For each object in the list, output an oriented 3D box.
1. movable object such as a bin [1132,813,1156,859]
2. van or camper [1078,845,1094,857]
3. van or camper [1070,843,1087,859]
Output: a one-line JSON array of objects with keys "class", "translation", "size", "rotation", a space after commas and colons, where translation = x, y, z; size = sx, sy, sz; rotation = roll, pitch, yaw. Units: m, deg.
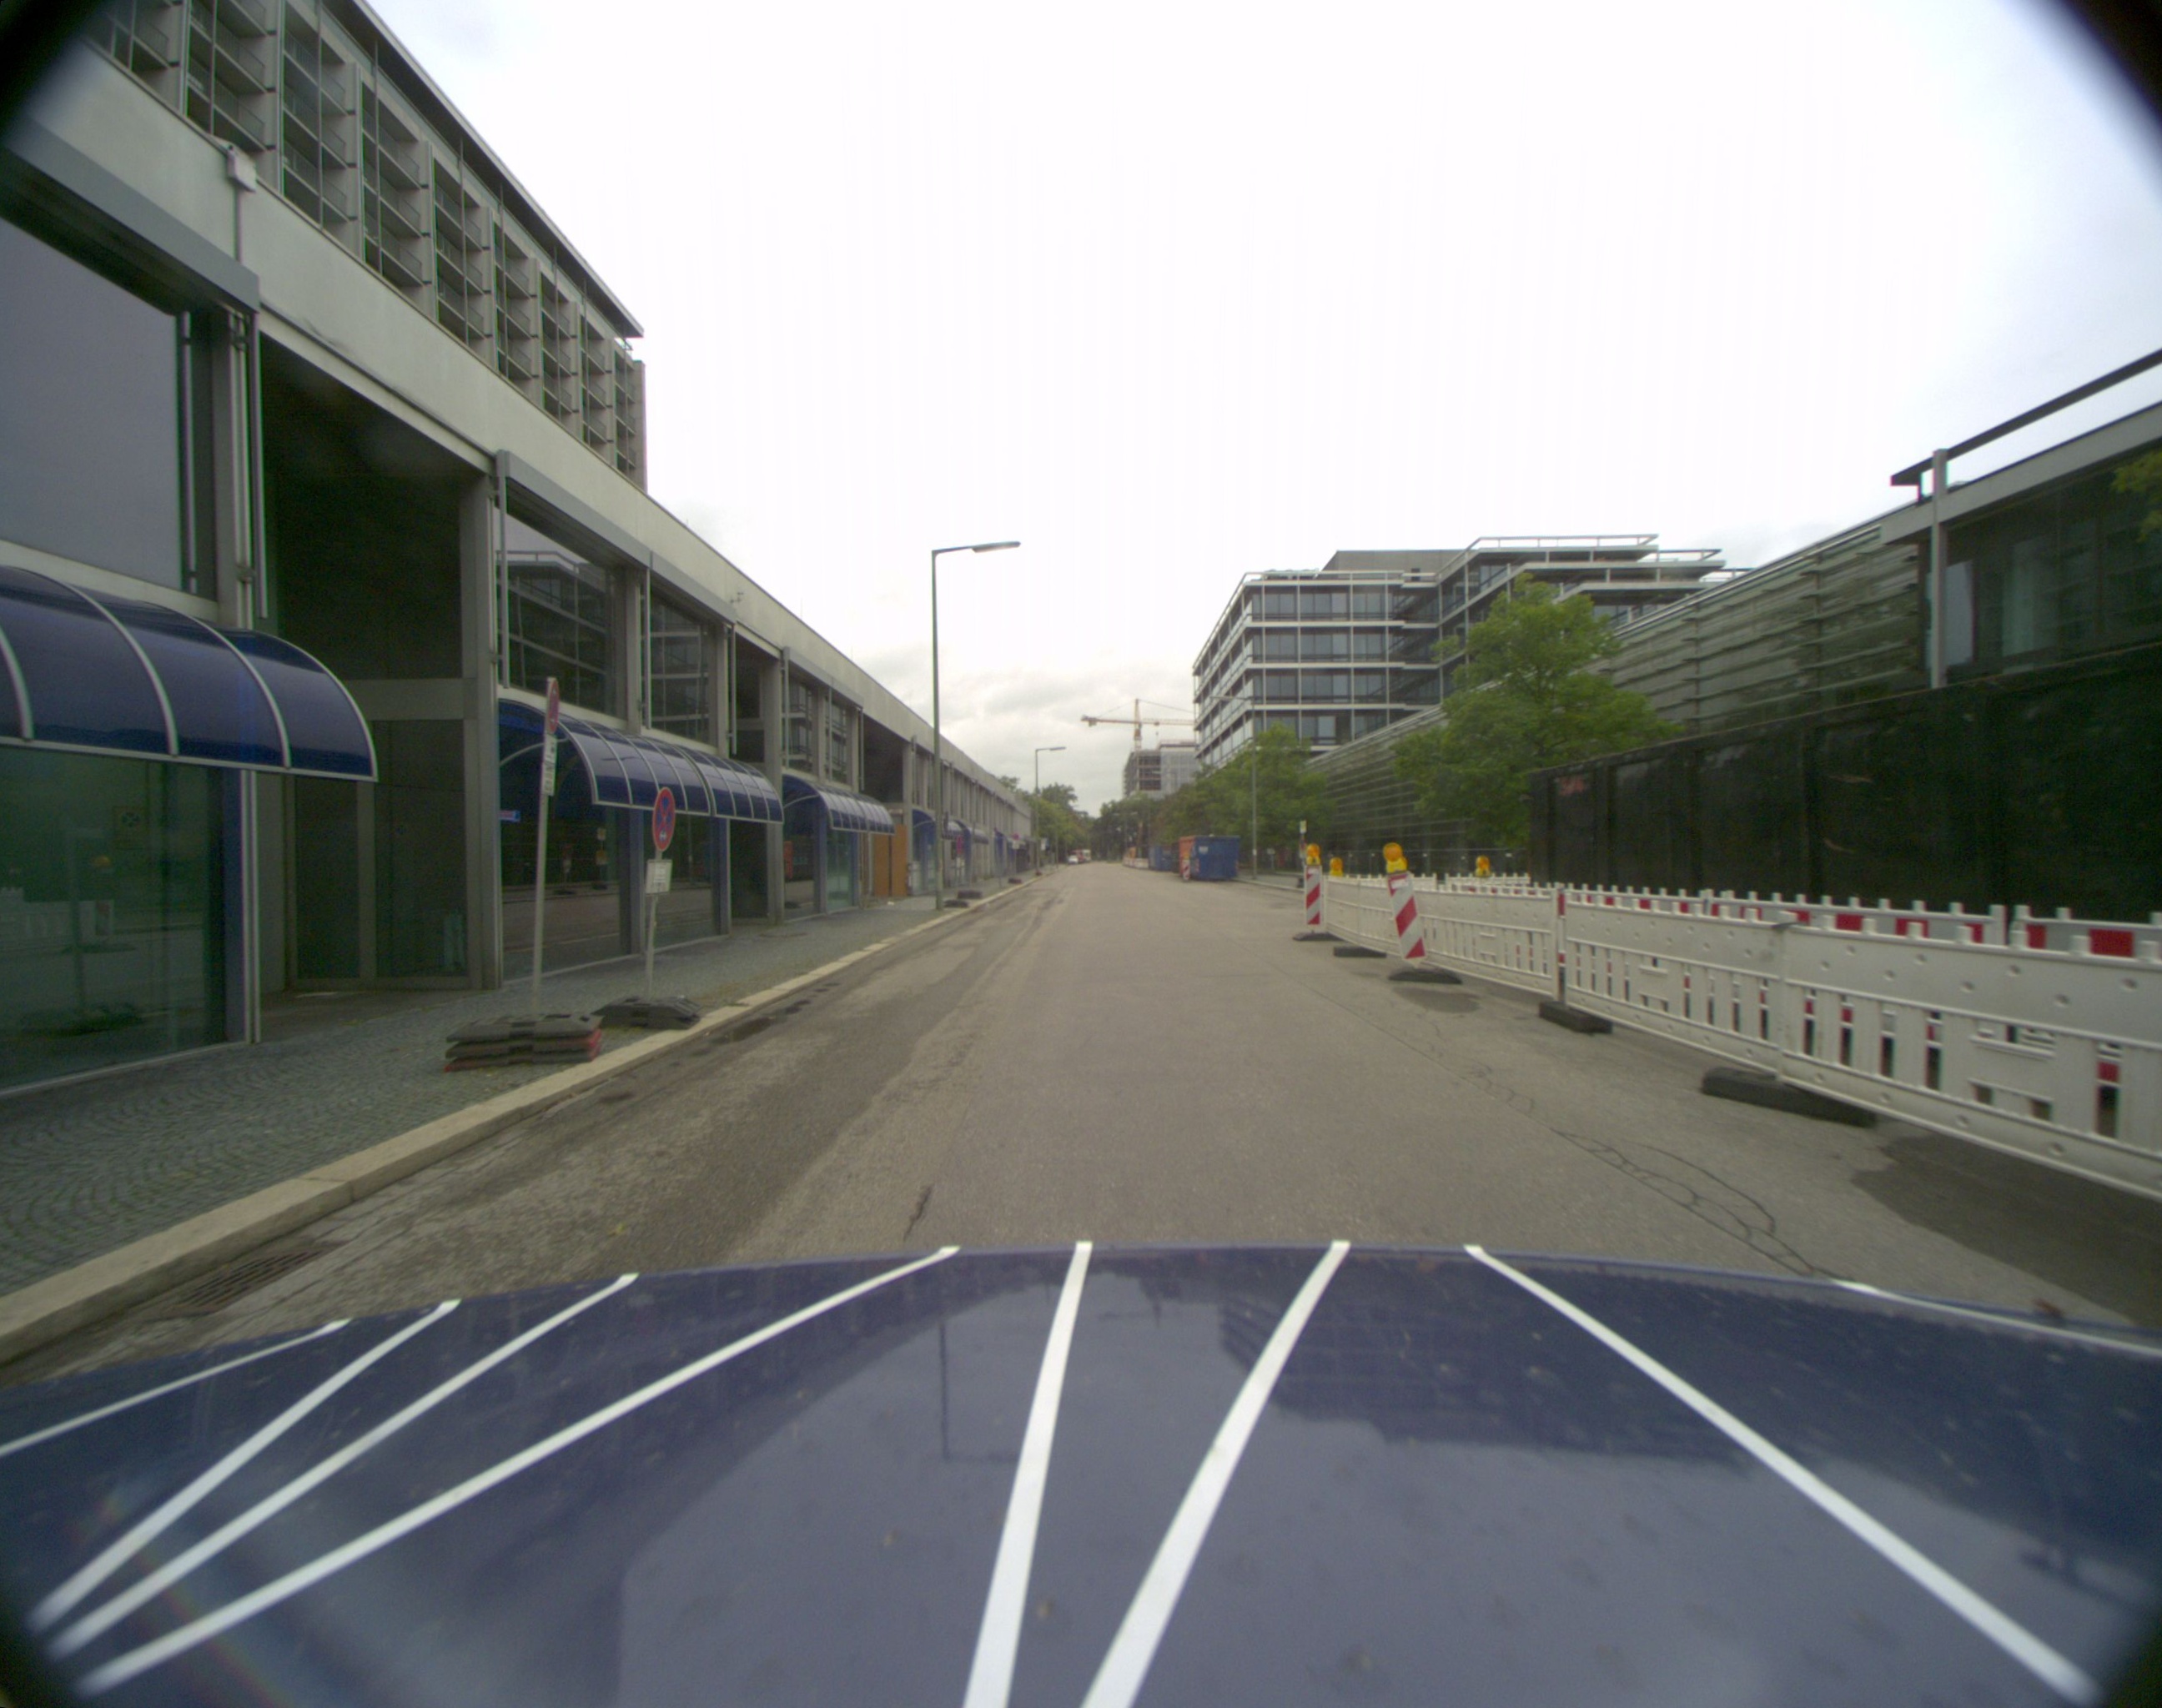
[{"class": "movable object such as a bin", "translation": [8.991, -2.476, 109.234], "size": [3.241, 6.286, 8.337], "rotation": [-1, 1, 3]}, {"class": "van or camper", "translation": [1.048, -0.588, 155.924], "size": [2.665, 2.436, 6.448], "rotation": [-1, 0, 7]}, {"class": "van or camper", "translation": [-0.370, -0.574, 141.638], "size": [2.666, 2.751, 6.916], "rotation": [-1, 0, 4]}]
